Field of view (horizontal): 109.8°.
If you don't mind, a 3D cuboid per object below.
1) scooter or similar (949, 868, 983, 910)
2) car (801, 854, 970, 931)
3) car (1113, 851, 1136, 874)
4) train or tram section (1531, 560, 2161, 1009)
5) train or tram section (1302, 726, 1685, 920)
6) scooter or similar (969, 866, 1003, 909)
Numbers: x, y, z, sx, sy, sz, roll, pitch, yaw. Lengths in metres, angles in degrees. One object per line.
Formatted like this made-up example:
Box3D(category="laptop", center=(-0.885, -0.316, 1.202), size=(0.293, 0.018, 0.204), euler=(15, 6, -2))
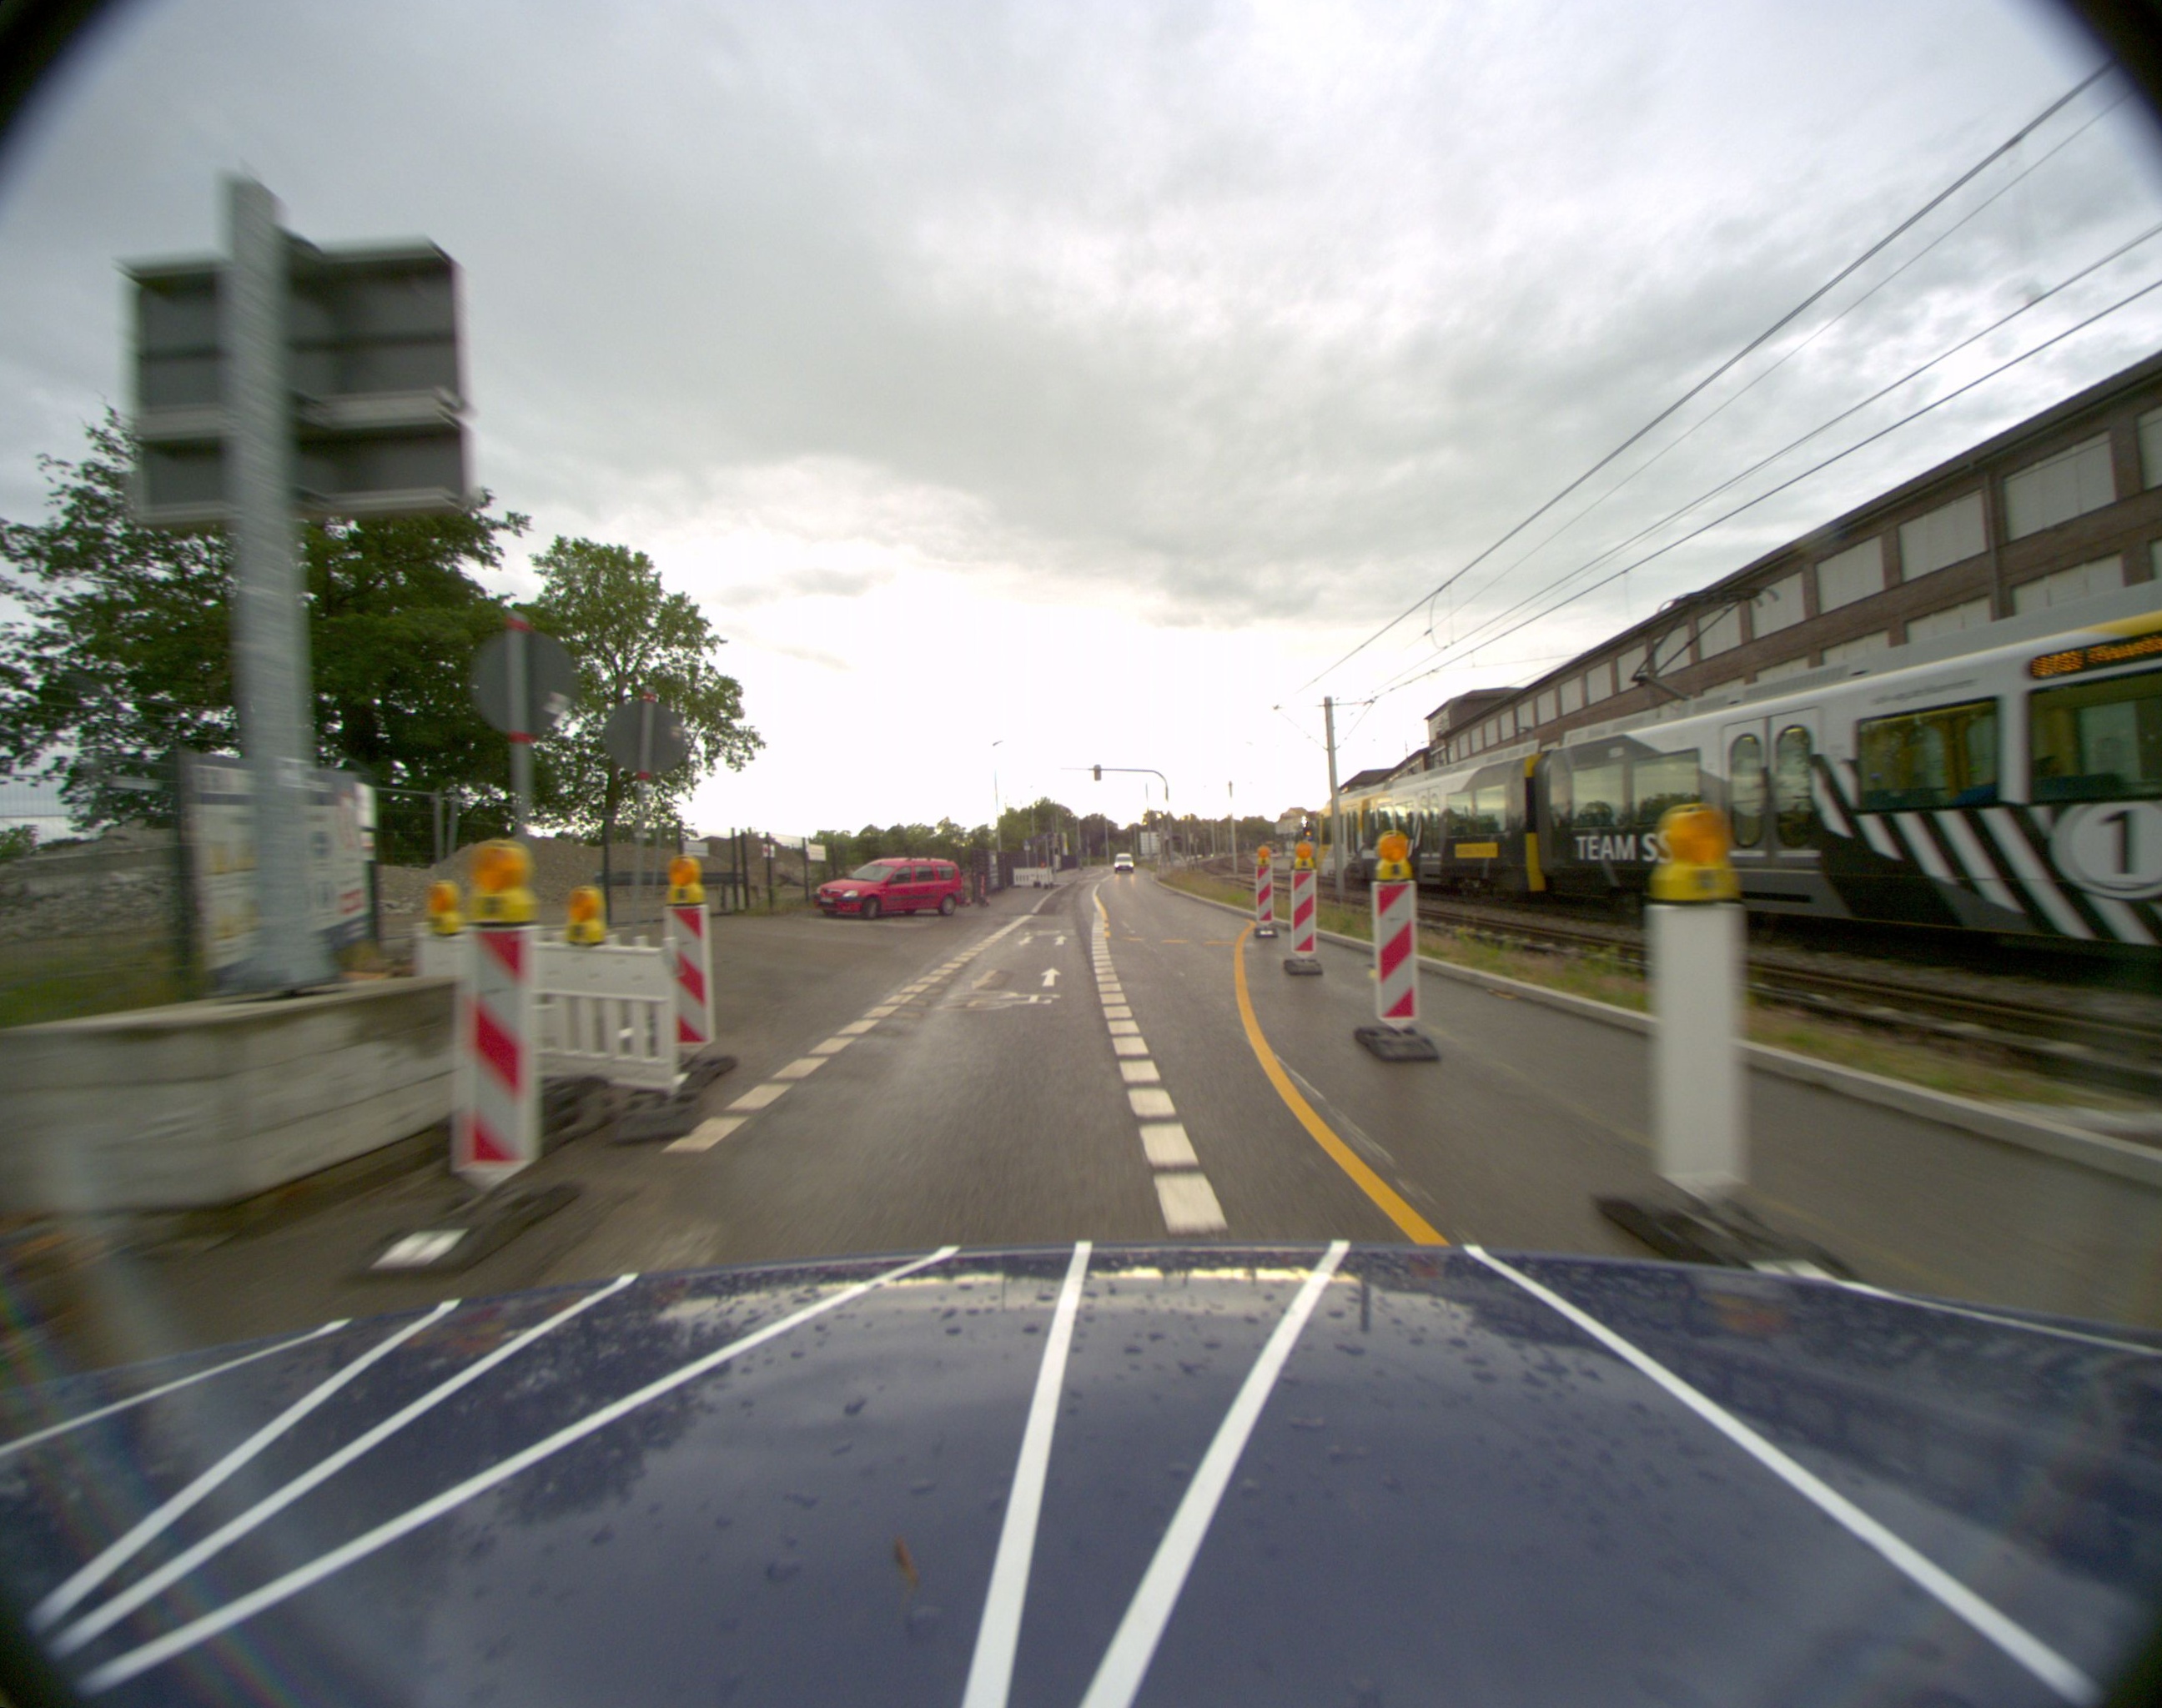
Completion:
Box3D(category="scooter or similar", center=(-4.005, 1.211, 26.574), size=(0.616, 1.343, 1.913), euler=(-3, 0, 8))
Box3D(category="car", center=(-5.285, 0.993, 21.125), size=(1.820, 1.783, 4.417), euler=(-3, 0, 33))
Box3D(category="car", center=(4.166, 0.798, 73.252), size=(1.998, 2.002, 3.999), euler=(-2, 1, 1))
Box3D(category="train or tram section", center=(10.777, -0.673, 6.309), size=(2.962, 3.863, 19.291), euler=(-4, 0, 2))
Box3D(category="train or tram section", center=(11.509, -0.701, 25.744), size=(2.962, 3.863, 19.574), euler=(-4, 0, 3))
Box3D(category="scooter or similar", center=(-3.264, 1.137, 26.349), size=(0.616, 1.343, 1.913), euler=(-3, 0, 8))
